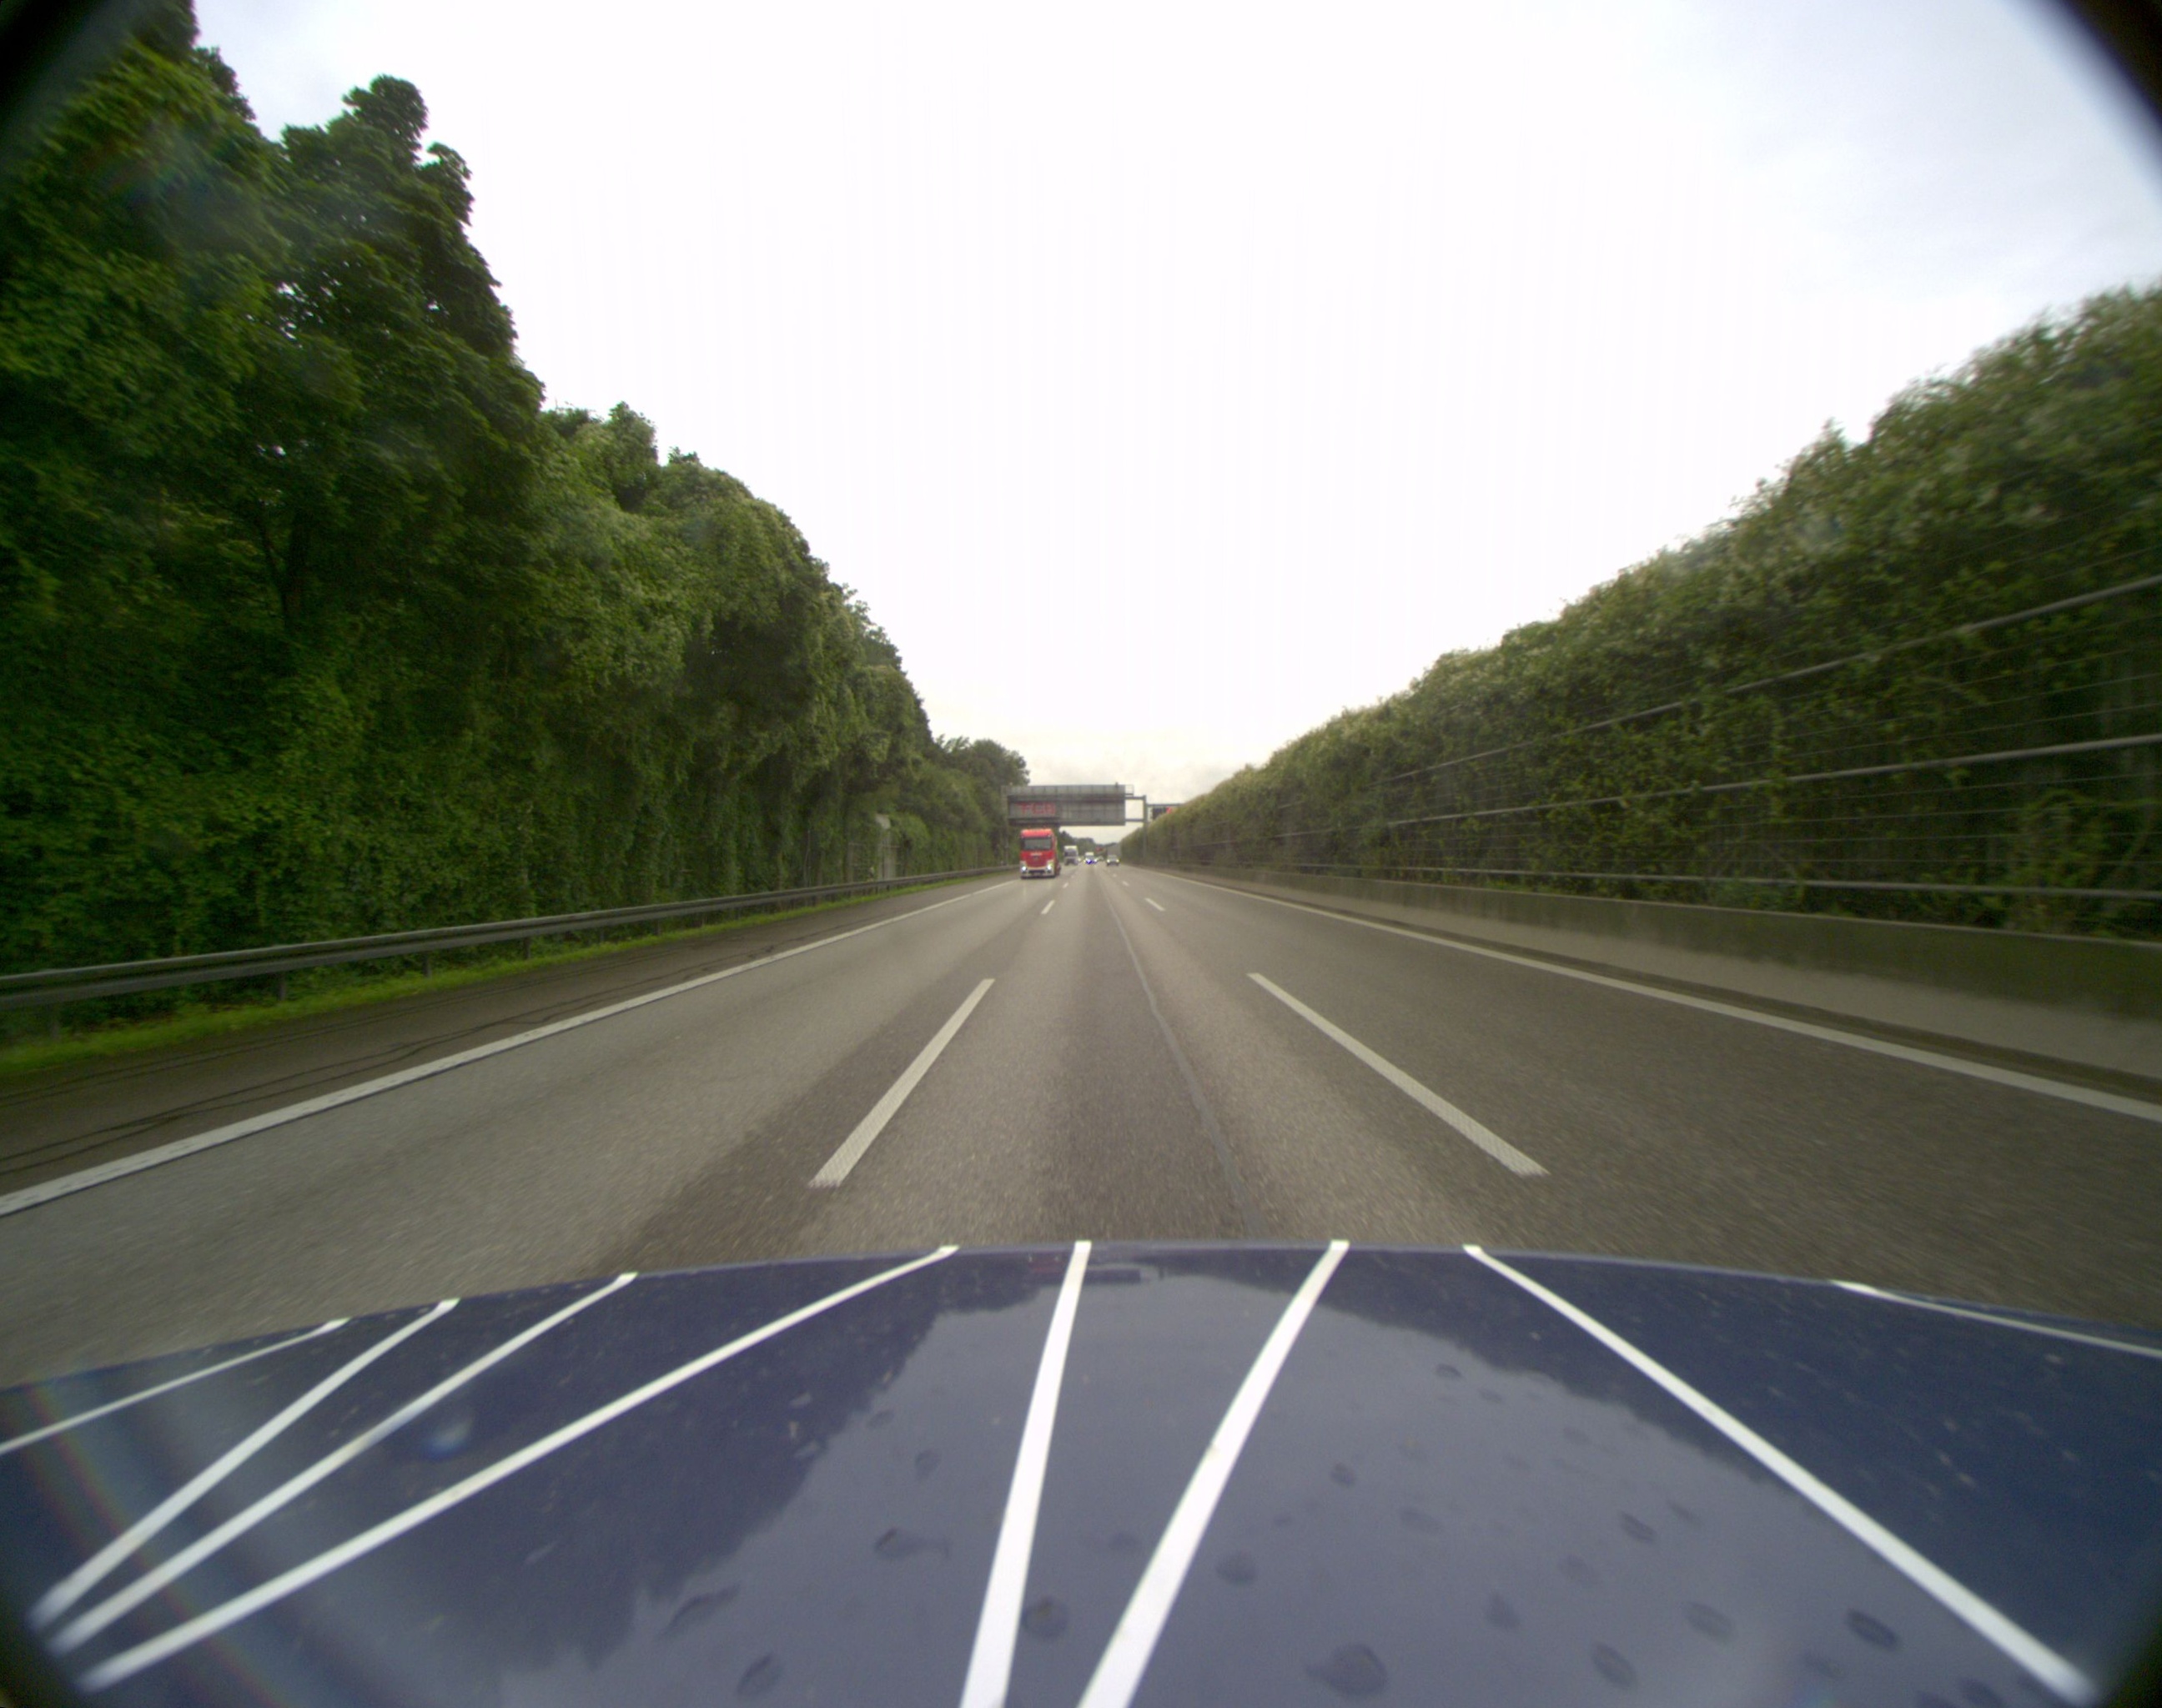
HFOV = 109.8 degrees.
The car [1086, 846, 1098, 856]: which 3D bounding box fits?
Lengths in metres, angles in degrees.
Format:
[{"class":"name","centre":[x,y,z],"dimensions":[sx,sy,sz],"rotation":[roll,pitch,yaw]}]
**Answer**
[{"class":"car","centre":[2.647,-0.716,177.951],"dimensions":[2.769,2.227,6.546],"rotation":[-2,1,1]}]

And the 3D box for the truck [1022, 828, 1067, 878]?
[{"class":"truck","centre":[-2.851,-0.206,62.443],"dimensions":[2.708,3.691,9.840],"rotation":[-2,2,2]}]

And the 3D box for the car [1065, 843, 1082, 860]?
[{"class":"car","centre":[-1.475,-0.551,151.089],"dimensions":[3.039,3.278,6.733],"rotation":[-2,1,1]}]

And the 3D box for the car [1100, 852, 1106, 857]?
[{"class":"car","centre":[7.285,0.162,253.405],"dimensions":[1.751,1.368,4.000],"rotation":[-2,0,1]}]

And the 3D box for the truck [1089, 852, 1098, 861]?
[{"class":"truck","centre":[2.626,0.499,158.821],"dimensions":[1.825,1.535,3.999],"rotation":[-3,2,1]}]

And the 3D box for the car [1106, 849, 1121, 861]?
[{"class":"car","centre":[5.016,0.121,117.247],"dimensions":[2.023,1.595,5.438],"rotation":[-4,1,1]}]

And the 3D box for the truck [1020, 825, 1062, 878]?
[{"class":"truck","centre":[-3.010,-0.245,57.700],"dimensions":[2.708,3.809,4.198],"rotation":[-2,2,2]}]
